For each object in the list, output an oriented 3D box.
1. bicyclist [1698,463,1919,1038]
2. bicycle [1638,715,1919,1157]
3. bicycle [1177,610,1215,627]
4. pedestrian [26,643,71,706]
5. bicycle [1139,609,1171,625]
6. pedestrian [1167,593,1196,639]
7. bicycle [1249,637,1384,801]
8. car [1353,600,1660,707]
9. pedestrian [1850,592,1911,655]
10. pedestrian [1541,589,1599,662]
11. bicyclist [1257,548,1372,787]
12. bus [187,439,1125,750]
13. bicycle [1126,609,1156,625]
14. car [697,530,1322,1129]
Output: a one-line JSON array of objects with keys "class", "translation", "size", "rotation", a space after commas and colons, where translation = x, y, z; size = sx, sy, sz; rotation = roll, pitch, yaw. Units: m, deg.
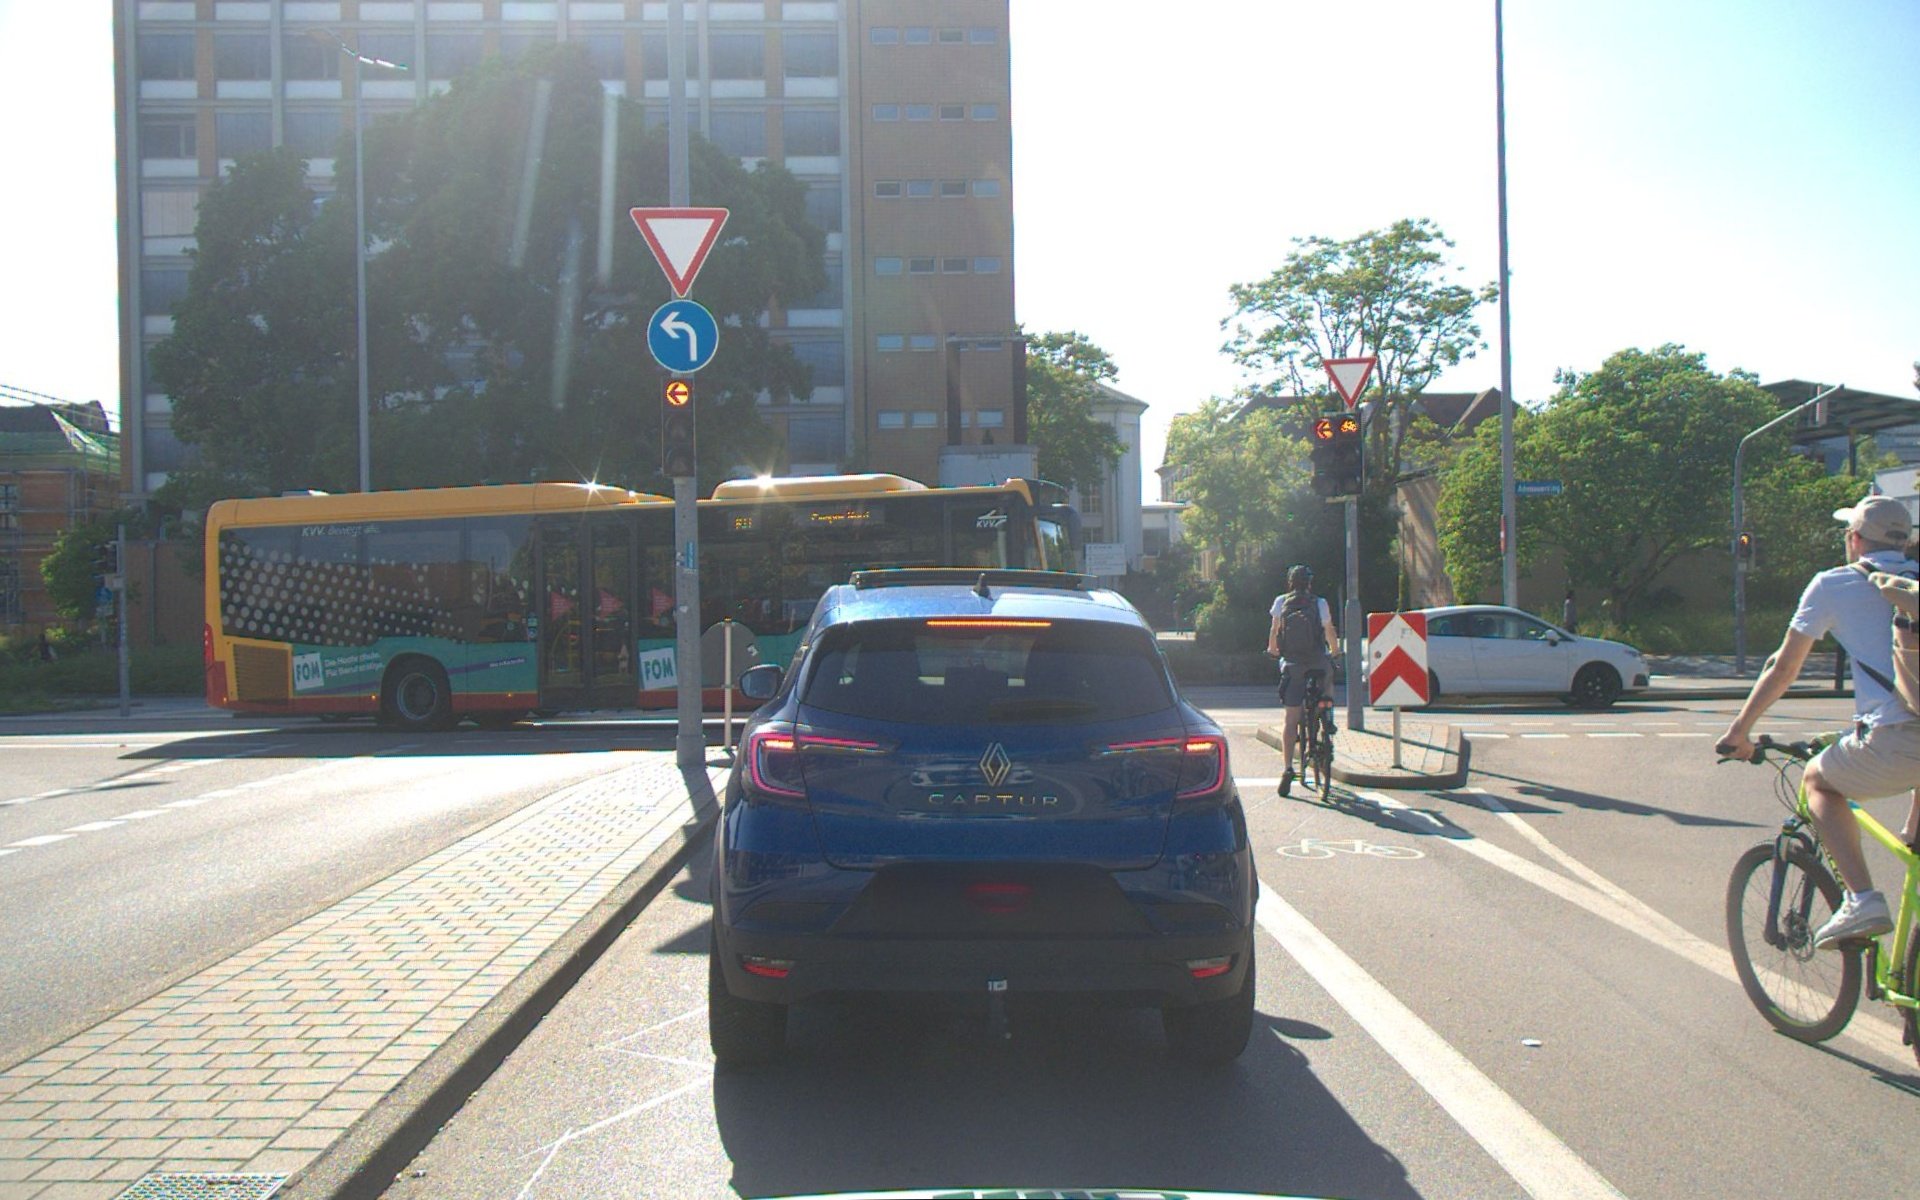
[{"class": "bicyclist", "translation": [2.908, 0.427, 5.188], "size": [0.660, 1.610, 1.081], "rotation": [1, 0, -2]}, {"class": "bicycle", "translation": [2.896, 0.971, 5.267], "size": [0.657, 1.069, 1.843], "rotation": [1, 0, -2]}, {"class": "bicycle", "translation": [11.869, 0.930, 83.209], "size": [1.739, 0.837, 0.763], "rotation": [-1, 0, -11]}, {"class": "pedestrian", "translation": [-30.531, 2.475, 55.431], "size": [0.807, 2.049, 1.014], "rotation": [-1, 0, 23]}, {"class": "bicycle", "translation": [11.213, 0.982, 95.000], "size": [1.735, 0.914, 0.765], "rotation": [-1, 0, -1]}, {"class": "pedestrian", "translation": [9.963, 0.710, 74.454], "size": [1.132, 2.049, 1.164], "rotation": [-1, 0, -1]}, {"class": "bicycle", "translation": [2.774, 0.893, 13.030], "size": [0.602, 1.158, 1.825], "rotation": [0, 0, -2]}, {"class": "car", "translation": [7.625, 0.737, 23.409], "size": [3.901, 1.397, 1.761], "rotation": [-1, 0, 11]}, {"class": "pedestrian", "translation": [23.179, 0.577, 41.661], "size": [1.062, 1.547, 0.931], "rotation": [-1, 0, 9]}, {"class": "pedestrian", "translation": [16.190, 0.673, 43.933], "size": [1.269, 1.888, 0.967], "rotation": [-1, 0, 11]}, {"class": "bicyclist", "translation": [2.789, 0.518, 13.091], "size": [0.663, 1.816, 0.939], "rotation": [1, -1, -2]}, {"class": "bus", "translation": [-4.070, 0.028, 22.355], "size": [12.157, 3.633, 3.253], "rotation": [-1, 0, 14]}, {"class": "bicycle", "translation": [10.867, 1.013, 99.358], "size": [1.735, 0.908, 0.765], "rotation": [-1, 0, -1]}, {"class": "car", "translation": [0.090, 0.644, 6.609], "size": [1.758, 1.684, 3.852], "rotation": [1, 0, -2]}]
